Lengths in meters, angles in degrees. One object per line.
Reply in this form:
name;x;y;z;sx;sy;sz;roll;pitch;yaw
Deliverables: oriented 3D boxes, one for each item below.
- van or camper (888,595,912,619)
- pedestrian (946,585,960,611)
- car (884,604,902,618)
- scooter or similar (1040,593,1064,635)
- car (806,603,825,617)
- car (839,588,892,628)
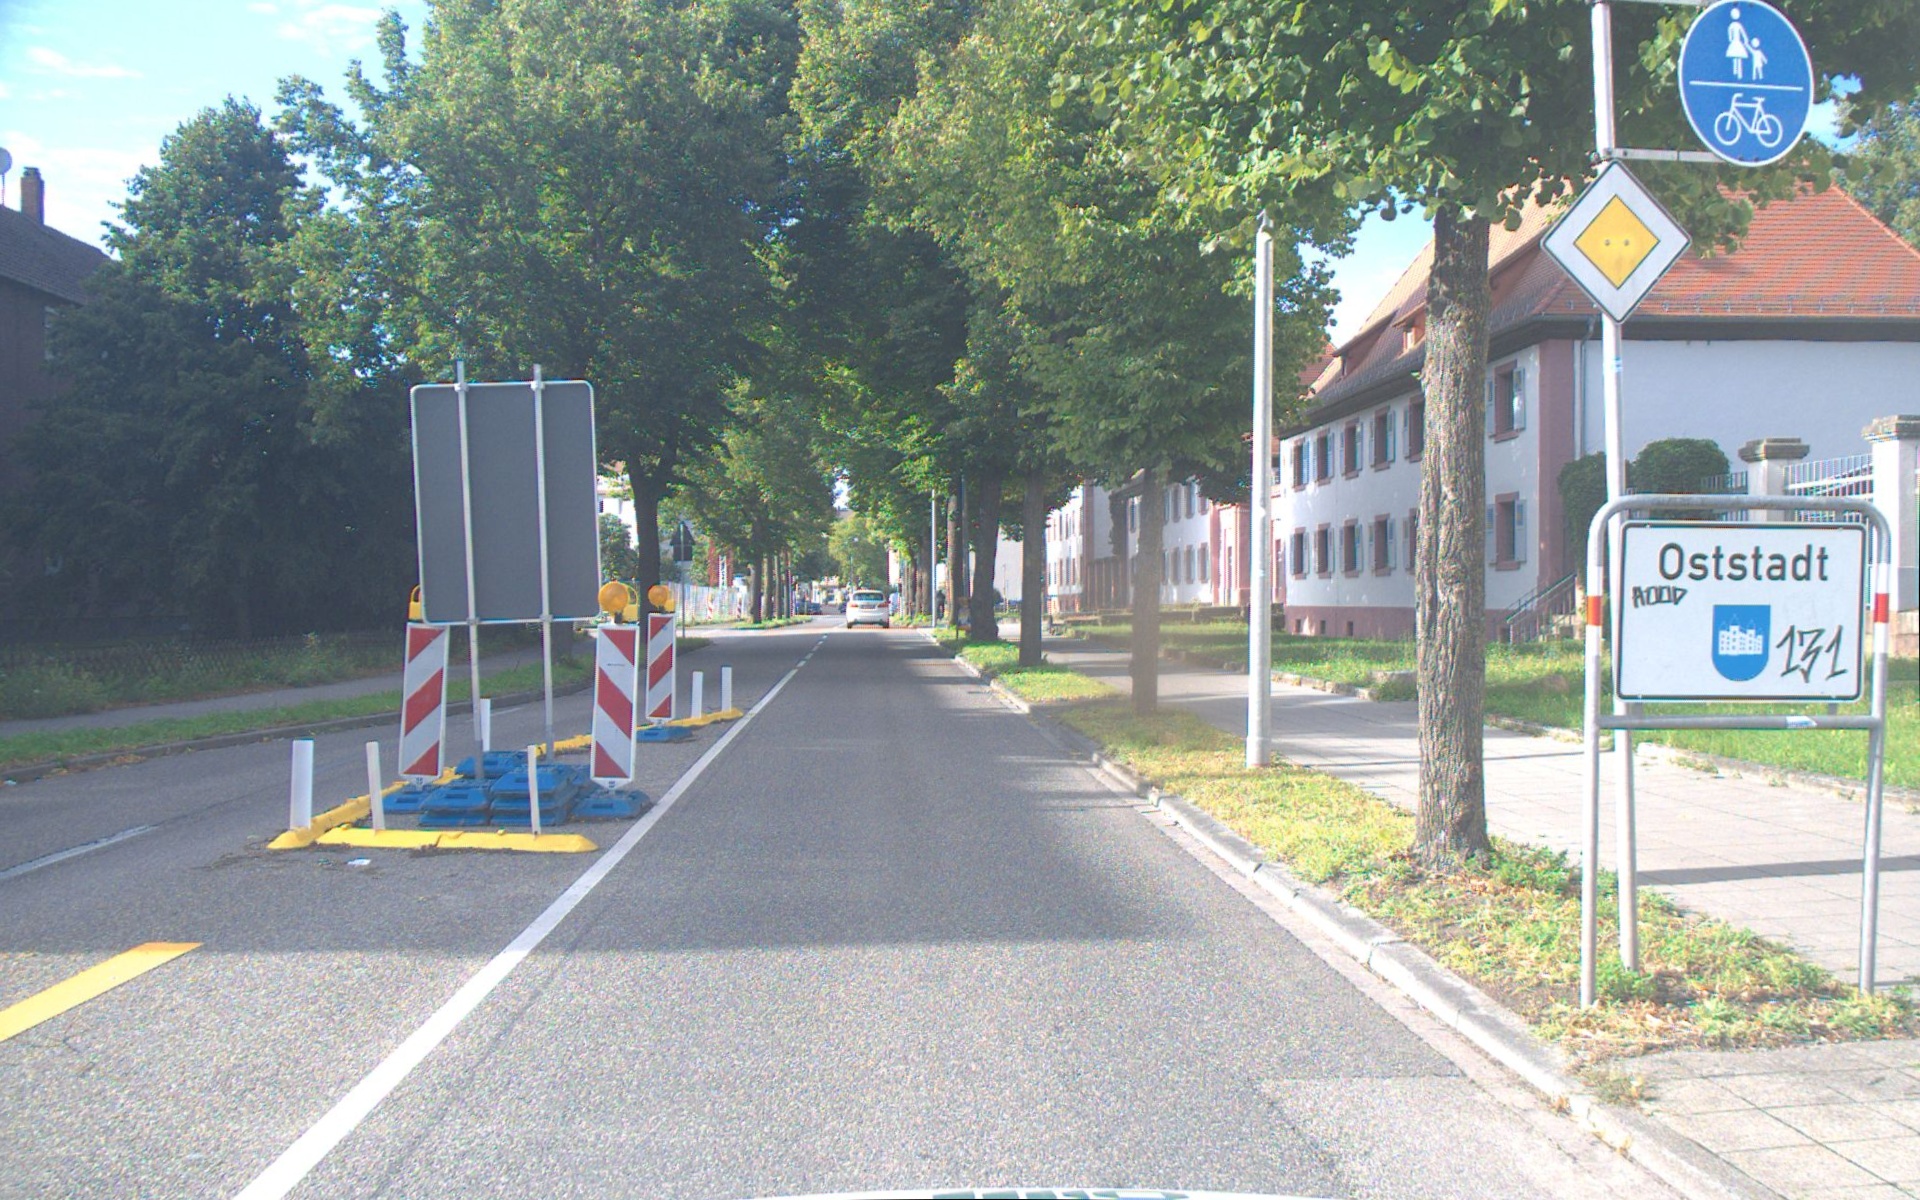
van or camper;-6.807;0.749;185.903;2.168;2.653;5.362;-1;0;-7
pedestrian;-0.467;-0.114;106.625;0.798;1.618;0.768;-3;-1;-5
car;-7.957;1.315;196.766;1.954;1.601;3.996;-1;0;-4
scooter or similar;2.923;0.441;52.592;0.567;1.314;1.381;-2;0;-2
car;-17.617;1.265;201.548;1.957;1.668;3.991;-1;0;-10
car;-3.969;0.365;69.141;1.955;1.582;4.267;1;-1;-7
